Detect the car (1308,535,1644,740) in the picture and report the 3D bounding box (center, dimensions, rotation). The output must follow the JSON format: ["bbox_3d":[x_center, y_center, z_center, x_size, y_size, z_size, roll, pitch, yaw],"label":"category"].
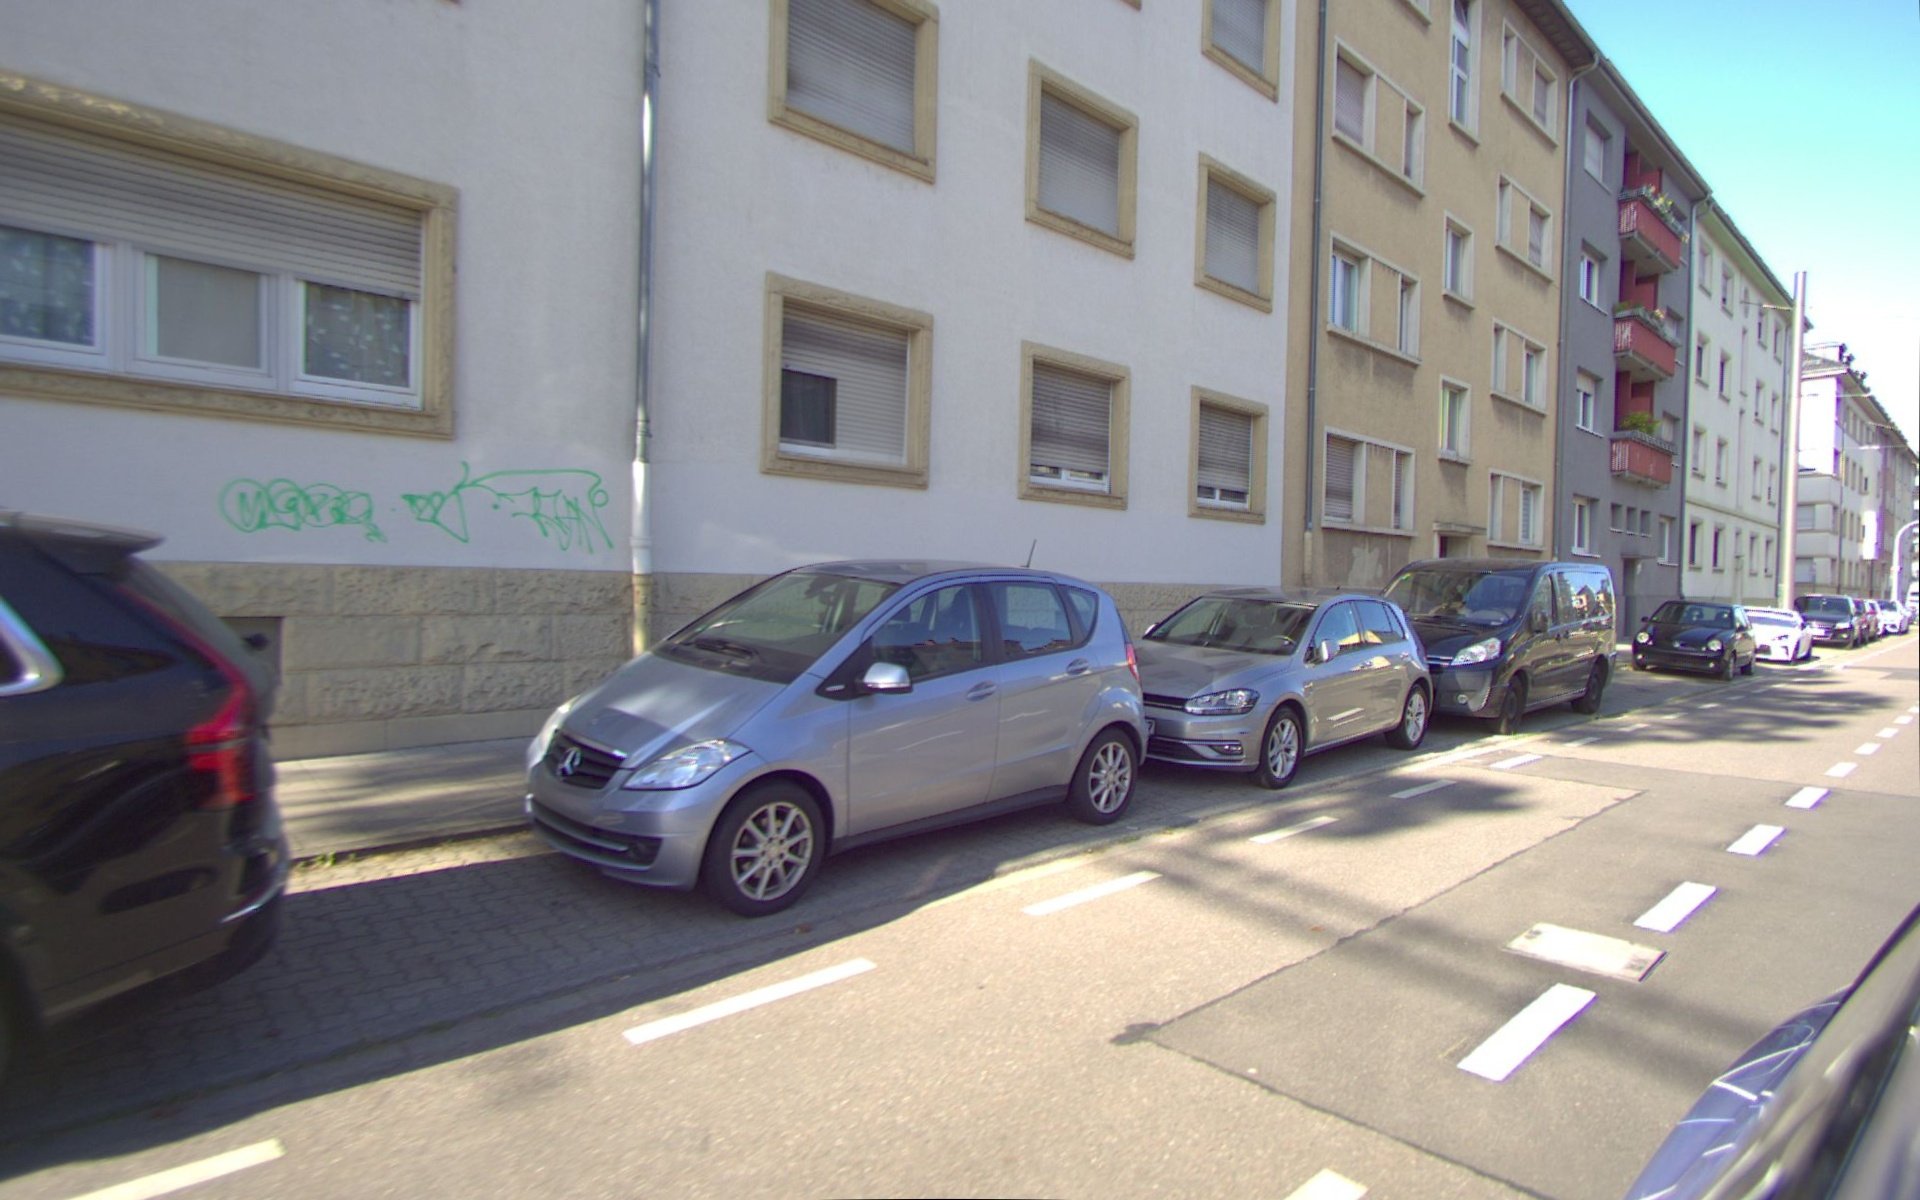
[{"bbox_3d":[6.419,0.304,12.279,5.049,1.922,1.916,-1,5,-43],"label":"car"}]

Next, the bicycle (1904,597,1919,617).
[{"bbox_3d":[54.757,0.427,57.485,0.465,1.100,1.919,-2,3,1],"label":"bicycle"}]

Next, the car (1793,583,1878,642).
[{"bbox_3d":[27.933,0.343,32.253,4.303,1.667,1.637,-1,5,-45],"label":"car"}]

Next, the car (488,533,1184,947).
[{"bbox_3d":[-0.462,0.496,5.899,1.595,1.597,3.833,5,4,45],"label":"car"}]

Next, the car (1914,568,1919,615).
[{"bbox_3d":[59.145,-0.433,60.758,6.185,2.728,2.154,0,4,-43],"label":"car"}]

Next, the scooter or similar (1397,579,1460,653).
[{"bbox_3d":[8.448,0.274,18.252,1.316,1.253,0.459,0,5,-42],"label":"scooter or similar"}]

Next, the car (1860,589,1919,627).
[{"bbox_3d":[39.765,0.293,43.067,4.304,1.476,1.697,0,3,-42],"label":"car"}]

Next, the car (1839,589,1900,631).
[{"bbox_3d":[35.832,0.350,39.849,1.636,1.476,4.017,4,3,43],"label":"car"}]

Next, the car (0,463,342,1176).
[{"bbox_3d":[-4.201,0.472,1.989,4.848,1.737,1.883,0,5,-42],"label":"car"}]

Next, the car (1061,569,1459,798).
[{"bbox_3d":[2.812,0.527,8.885,1.512,1.496,4.170,5,4,45],"label":"car"}]

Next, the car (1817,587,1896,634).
[{"bbox_3d":[32.012,0.343,36.099,4.117,1.536,1.638,0,3,-42],"label":"car"}]

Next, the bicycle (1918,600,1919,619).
[{"bbox_3d":[55.597,0.552,57.542,0.478,1.101,2.025,-1,0,5],"label":"bicycle"}]

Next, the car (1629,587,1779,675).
[{"bbox_3d":[14.851,0.543,20.147,3.725,1.471,1.639,0,5,-42],"label":"car"}]

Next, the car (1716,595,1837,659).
[{"bbox_3d":[20.375,0.606,25.194,4.231,1.290,1.705,-1,6,-43],"label":"car"}]

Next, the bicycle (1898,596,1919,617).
[{"bbox_3d":[53.889,0.373,56.858,0.465,1.100,1.918,4,3,0],"label":"bicycle"}]
